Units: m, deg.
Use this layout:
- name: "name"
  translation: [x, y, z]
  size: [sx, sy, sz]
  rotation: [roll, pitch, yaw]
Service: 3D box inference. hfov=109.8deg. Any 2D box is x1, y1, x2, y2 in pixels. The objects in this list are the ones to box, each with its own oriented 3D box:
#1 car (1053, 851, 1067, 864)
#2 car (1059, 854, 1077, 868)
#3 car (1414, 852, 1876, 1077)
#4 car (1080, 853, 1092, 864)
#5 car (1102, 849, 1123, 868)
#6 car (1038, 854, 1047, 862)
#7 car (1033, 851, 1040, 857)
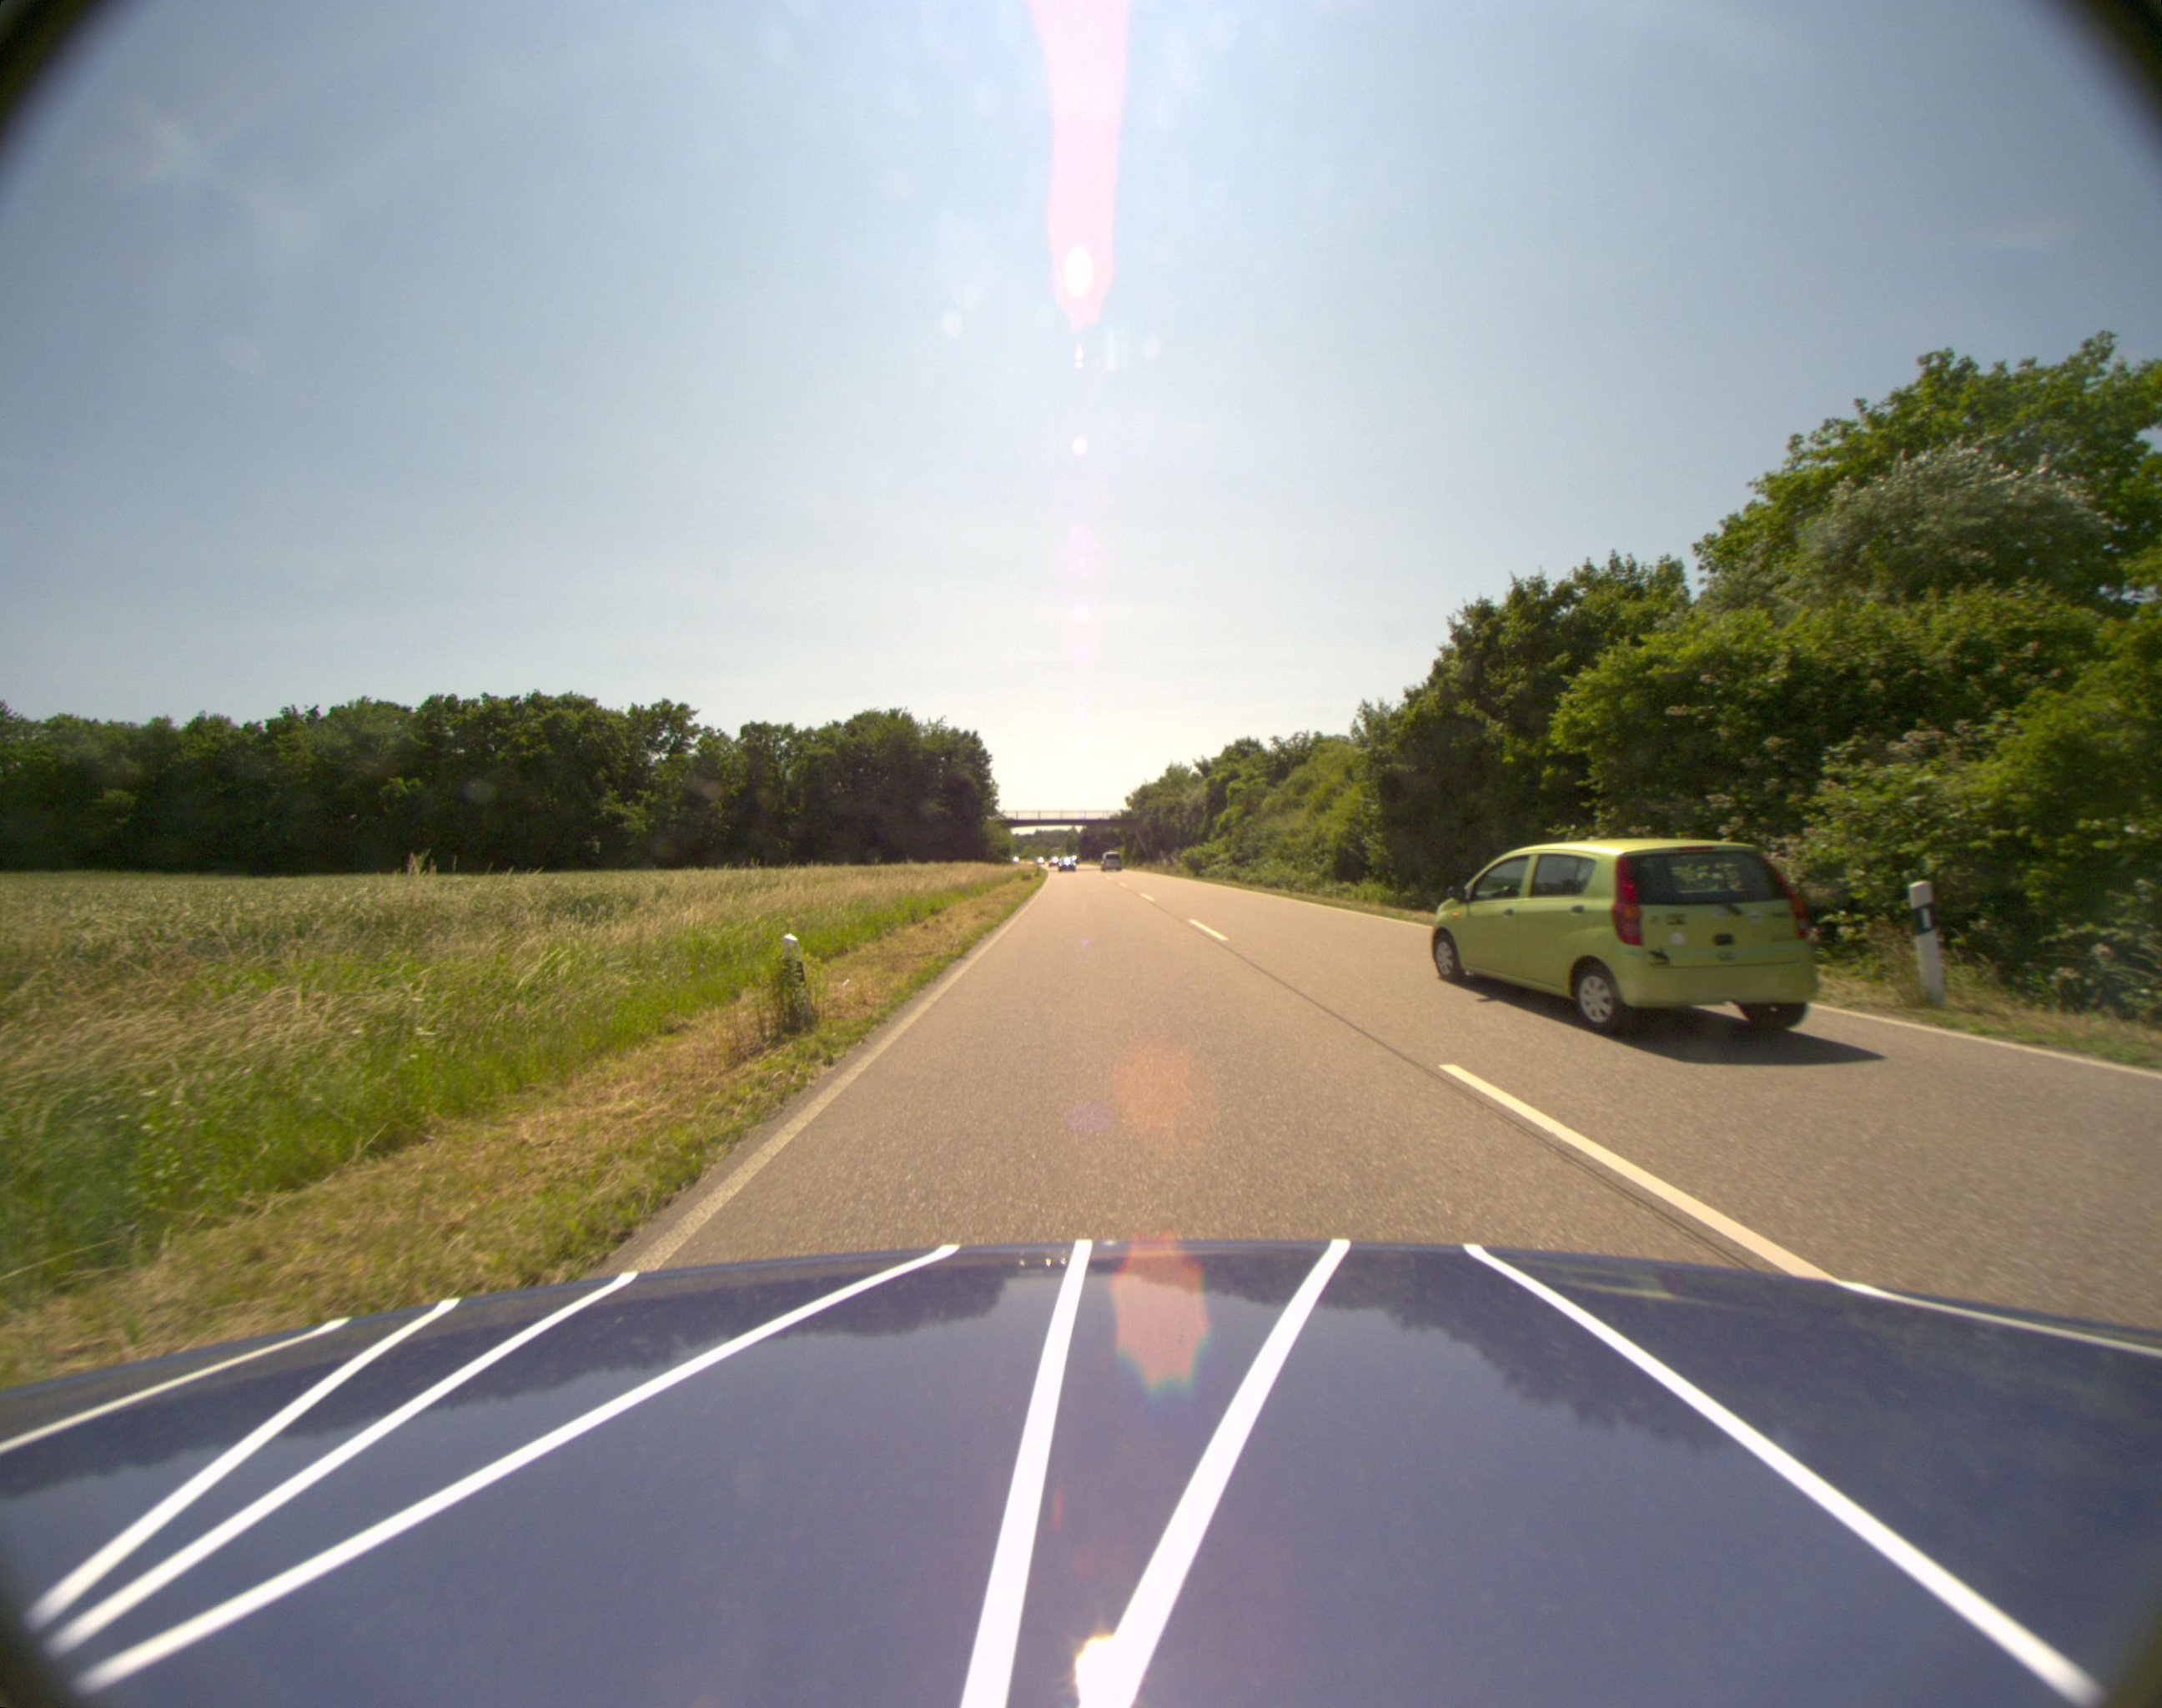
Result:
- name: "car"
  translation: [-3.311, 0.522, 118.036]
  size: [1.999, 2.002, 3.999]
  rotation: [-2, 0, -3]
- name: "car"
  translation: [-1.404, 0.718, 79.456]
  size: [1.693, 1.431, 3.709]
  rotation: [-1, 0, -3]
- name: "car"
  translation: [4.672, 0.748, 7.080]
  size: [1.500, 1.487, 3.832]
  rotation: [-2, 0, 1]
- name: "car"
  translation: [0.869, 0.858, 136.581]
  size: [2.068, 1.755, 5.133]
  rotation: [-2, 1, 1]
- name: "car"
  translation: [3.094, 0.434, 74.960]
  size: [1.767, 1.808, 4.803]
  rotation: [-2, 0, -1]
- name: "car"
  translation: [-8.297, 0.865, 165.238]
  size: [1.553, 1.659, 3.999]
  rotation: [-2, 1, 1]
- name: "car"
  translation: [-13.206, -0.002, 223.730]
  size: [1.999, 1.521, 5.505]
  rotation: [0, 0, -4]
